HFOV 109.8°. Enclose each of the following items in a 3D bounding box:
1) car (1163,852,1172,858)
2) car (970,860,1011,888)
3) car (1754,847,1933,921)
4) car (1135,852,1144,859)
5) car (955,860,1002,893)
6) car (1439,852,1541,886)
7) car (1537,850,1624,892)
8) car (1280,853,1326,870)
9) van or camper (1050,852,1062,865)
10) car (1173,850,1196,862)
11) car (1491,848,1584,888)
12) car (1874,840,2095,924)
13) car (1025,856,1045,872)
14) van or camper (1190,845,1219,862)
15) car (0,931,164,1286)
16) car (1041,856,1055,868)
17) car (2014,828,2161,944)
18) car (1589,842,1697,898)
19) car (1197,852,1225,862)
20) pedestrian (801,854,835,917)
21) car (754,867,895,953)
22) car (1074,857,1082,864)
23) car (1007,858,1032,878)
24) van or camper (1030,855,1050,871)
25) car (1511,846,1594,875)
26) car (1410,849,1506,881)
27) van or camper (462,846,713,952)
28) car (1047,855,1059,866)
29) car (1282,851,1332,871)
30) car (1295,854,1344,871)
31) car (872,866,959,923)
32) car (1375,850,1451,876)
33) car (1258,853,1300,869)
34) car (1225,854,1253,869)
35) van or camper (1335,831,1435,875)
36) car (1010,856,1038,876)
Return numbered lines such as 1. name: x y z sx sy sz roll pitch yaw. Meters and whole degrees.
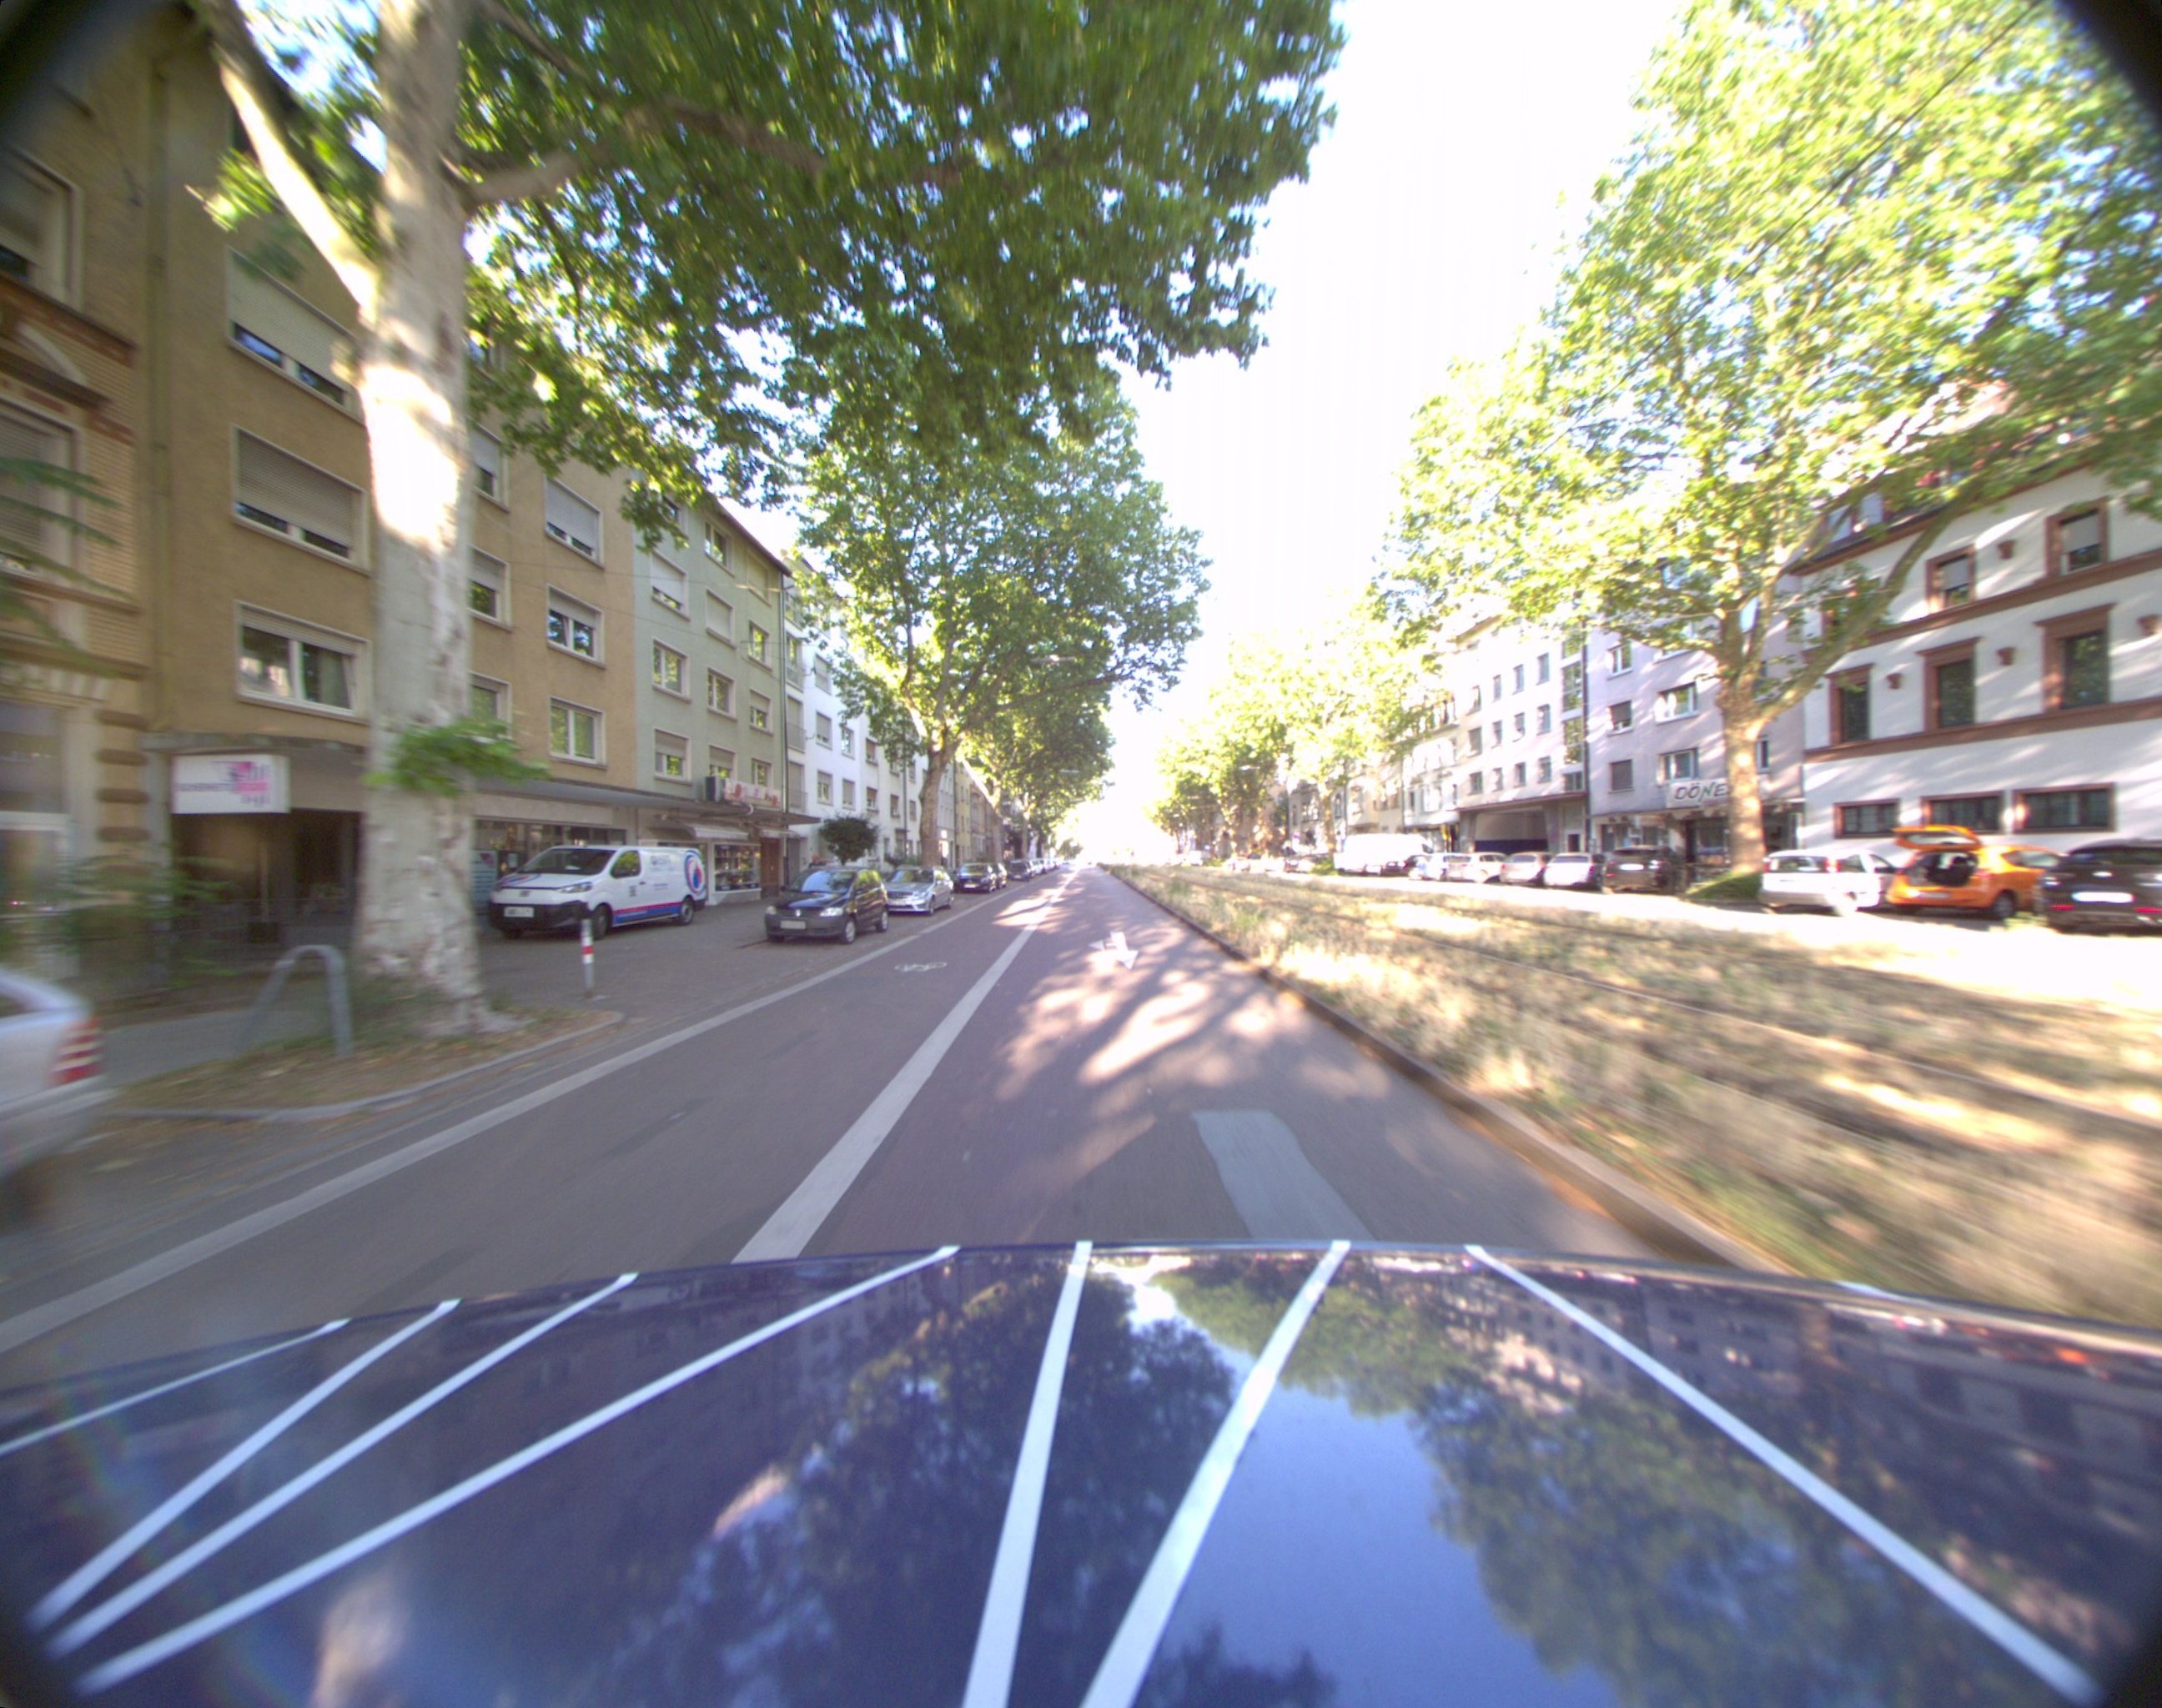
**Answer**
1. car: 22.136 0.278 193.877 1.998 1.412 4.000 -3 0 3
2. car: -4.979 1.080 42.116 1.713 1.407 4.363 1 0 0
3. car: 18.184 0.645 18.093 4.369 1.440 1.656 -2 1 -26
4. car: 14.724 0.411 191.847 1.997 1.477 4.002 -3 0 9
5. car: -4.950 1.064 37.224 1.713 1.407 4.363 1 0 0
6. car: 19.527 0.688 36.349 4.001 1.483 1.949 -1 0 -13
7. car: 19.248 0.637 29.201 4.007 1.377 1.907 -3 0 -44
8. car: 19.938 0.688 68.194 4.008 1.524 1.821 1 -1 -35
9. van or camper: -4.116 0.727 125.375 1.790 2.172 4.732 0 0 0
10. car: 19.922 0.376 146.086 4.007 2.002 1.995 -4 1 -42
11. car: 19.371 0.582 32.220 4.006 1.414 1.752 -4 1 -33
12. car: 19.624 0.546 16.526 4.003 1.471 1.774 -3 1 -19
13. car: -4.714 0.994 77.957 1.702 1.517 4.194 -1 0 0
14. van or camper: 19.676 -0.012 120.997 4.370 2.386 2.196 -5 2 -40
15. car: -5.384 1.121 1.476 1.678 1.443 4.570 -1 0 -1
16. car: -4.386 1.016 101.278 1.790 1.609 3.829 0 0 0
17. car: 18.383 0.509 13.028 4.370 1.776 1.990 1 1 -25
18. car: 18.915 0.509 25.505 4.007 1.651 1.995 -2 0 -40
19. car: 20.268 0.540 118.466 4.005 1.240 1.726 -5 1 -33
20. pedestrian: -8.491 0.994 24.563 0.684 2.002 1.012 -1 1 -1
21. car: -5.299 1.088 16.271 1.658 1.536 4.000 -1 0 0
22. car: -0.717 1.556 181.674 1.893 1.501 4.000 -3 0 1
23. car: -4.677 1.031 58.035 1.748 1.455 4.024 -1 0 -4
24. van or camper: -4.508 0.972 84.254 1.790 1.710 4.379 0 0 2
25. car: 29.253 0.382 47.262 3.997 1.710 1.906 -1 1 -1
26. car: 19.399 0.556 39.207 3.998 1.412 1.857 -3 1 -3
27. van or camper: -10.309 0.823 16.564 1.947 1.911 5.391 -1 0 0
28. car: -4.301 1.027 118.643 1.791 1.585 4.013 0 0 -1
29. car: 19.324 0.605 64.821 4.169 1.583 1.932 1 -1 -36
30. car: 19.341 0.696 61.533 4.014 1.349 1.797 0 0 -36
31. car: -5.093 1.182 24.025 1.699 1.533 4.777 -1 0 0
32. car: 20.171 0.525 46.204 4.004 1.482 1.997 -1 0 -21
33. car: 18.980 0.685 72.709 3.686 1.382 1.822 -1 0 -30
34. car: 15.853 0.715 76.476 1.825 1.382 4.484 1 0 0
35. van or camper: 19.468 -0.090 48.722 5.973 2.630 2.175 -1 0 -20
36. car: -4.802 0.993 64.813 1.998 1.557 4.664 1 0 0
